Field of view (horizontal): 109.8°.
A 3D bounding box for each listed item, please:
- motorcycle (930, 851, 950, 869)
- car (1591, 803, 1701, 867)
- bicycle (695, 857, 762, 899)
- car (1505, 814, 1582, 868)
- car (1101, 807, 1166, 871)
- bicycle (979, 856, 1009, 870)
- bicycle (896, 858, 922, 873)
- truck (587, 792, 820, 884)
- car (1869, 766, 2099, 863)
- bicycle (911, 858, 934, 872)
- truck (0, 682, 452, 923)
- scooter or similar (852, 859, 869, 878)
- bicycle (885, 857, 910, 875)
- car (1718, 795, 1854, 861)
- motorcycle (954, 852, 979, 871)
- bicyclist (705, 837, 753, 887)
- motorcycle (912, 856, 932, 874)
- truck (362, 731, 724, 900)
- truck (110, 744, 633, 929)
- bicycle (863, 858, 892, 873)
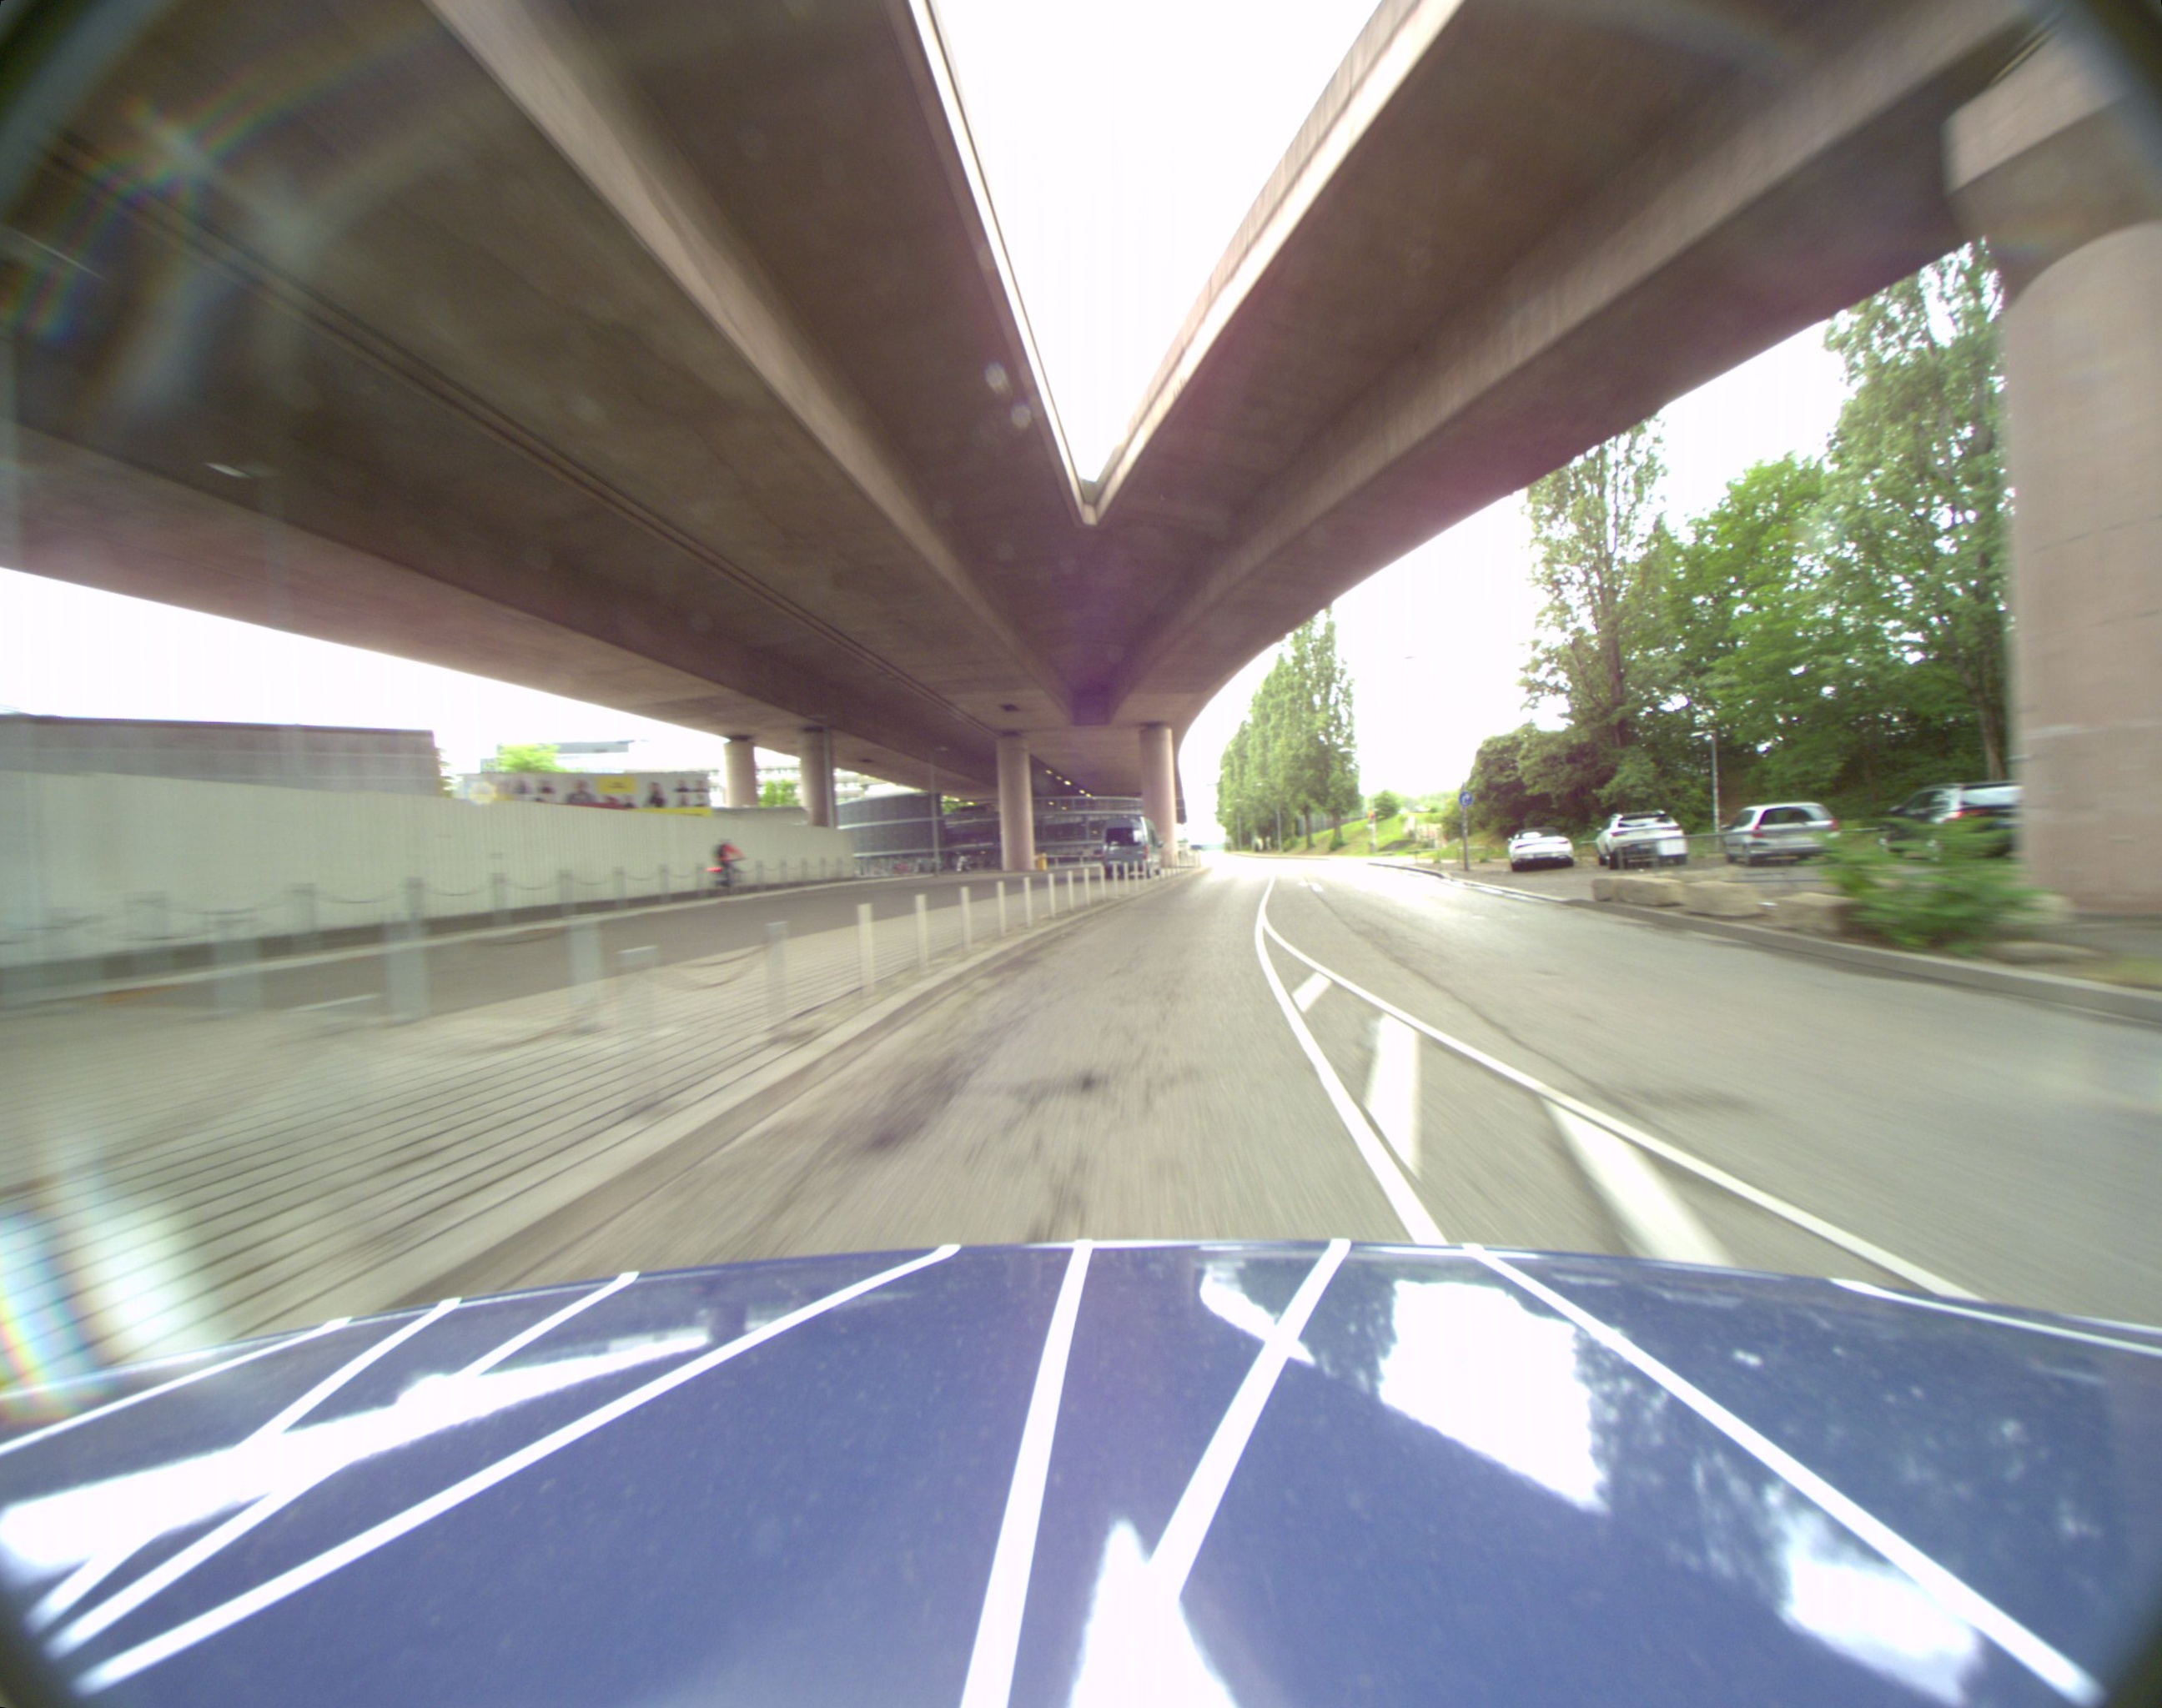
[{"bbox_3d":[-9.314,0.399,50.384,0.544,1.098,2.332,-2,-3,8],"label":"motorcycle"},{"bbox_3d":[17.122,-0.635,23.258,1.996,1.573,4.406,-7,0,29],"label":"car"},{"bbox_3d":[-10.052,0.657,21.765,0.804,1.091,2.131,-1,1,3],"label":"bicycle"},{"bbox_3d":[16.500,-0.519,27.322,1.996,1.471,4.835,-6,1,29],"label":"car"},{"bbox_3d":[2.492,-0.639,34.508,1.996,2.598,6.079,-1,1,13],"label":"car"},{"bbox_3d":[-6.215,0.665,54.303,2.018,0.921,0.419,-3,0,-1],"label":"bicycle"},{"bbox_3d":[-12.432,0.844,54.819,1.733,0.976,0.437,-3,0,6],"label":"bicycle"},{"bbox_3d":[-19.303,-0.865,39.526,10.316,4.279,3.004,-2,1,-40],"label":"truck"},{"bbox_3d":[18.565,-0.785,15.911,1.858,1.681,4.171,-3,1,32],"label":"car"},{"bbox_3d":[-13.203,0.887,63.467,1.787,1.073,0.437,-3,0,-2],"label":"bicycle"},{"bbox_3d":[-19.791,-0.975,16.081,9.744,4.418,3.139,-2,1,-41],"label":"truck"},{"bbox_3d":[-15.676,1.032,54.025,0.545,1.210,1.676,0,-4,-40],"label":"scooter or similar"},{"bbox_3d":[-12.522,0.833,51.847,0.622,1.098,2.324,1,-4,-43],"label":"bicycle"},{"bbox_3d":[17.750,-0.649,19.320,1.788,1.445,3.753,-2,1,31],"label":"car"},{"bbox_3d":[-7.538,0.503,50.142,0.783,1.227,2.539,-1,-1,11],"label":"motorcycle"},{"bbox_3d":[-10.058,0.220,21.760,0.798,1.397,1.066,-1,1,3],"label":"bicyclist"},{"bbox_3d":[-10.607,0.732,50.679,0.573,1.098,2.332,-2,-3,6],"label":"motorcycle"},{"bbox_3d":[-18.193,-1.235,26.506,9.744,4.896,3.139,-2,1,-41],"label":"truck"},{"bbox_3d":[-18.765,-0.516,21.420,10.084,4.159,2.890,-2,1,-40],"label":"truck"},{"bbox_3d":[-14.821,0.826,55.256,2.059,1.017,0.396,-3,0,13],"label":"bicycle"}]
